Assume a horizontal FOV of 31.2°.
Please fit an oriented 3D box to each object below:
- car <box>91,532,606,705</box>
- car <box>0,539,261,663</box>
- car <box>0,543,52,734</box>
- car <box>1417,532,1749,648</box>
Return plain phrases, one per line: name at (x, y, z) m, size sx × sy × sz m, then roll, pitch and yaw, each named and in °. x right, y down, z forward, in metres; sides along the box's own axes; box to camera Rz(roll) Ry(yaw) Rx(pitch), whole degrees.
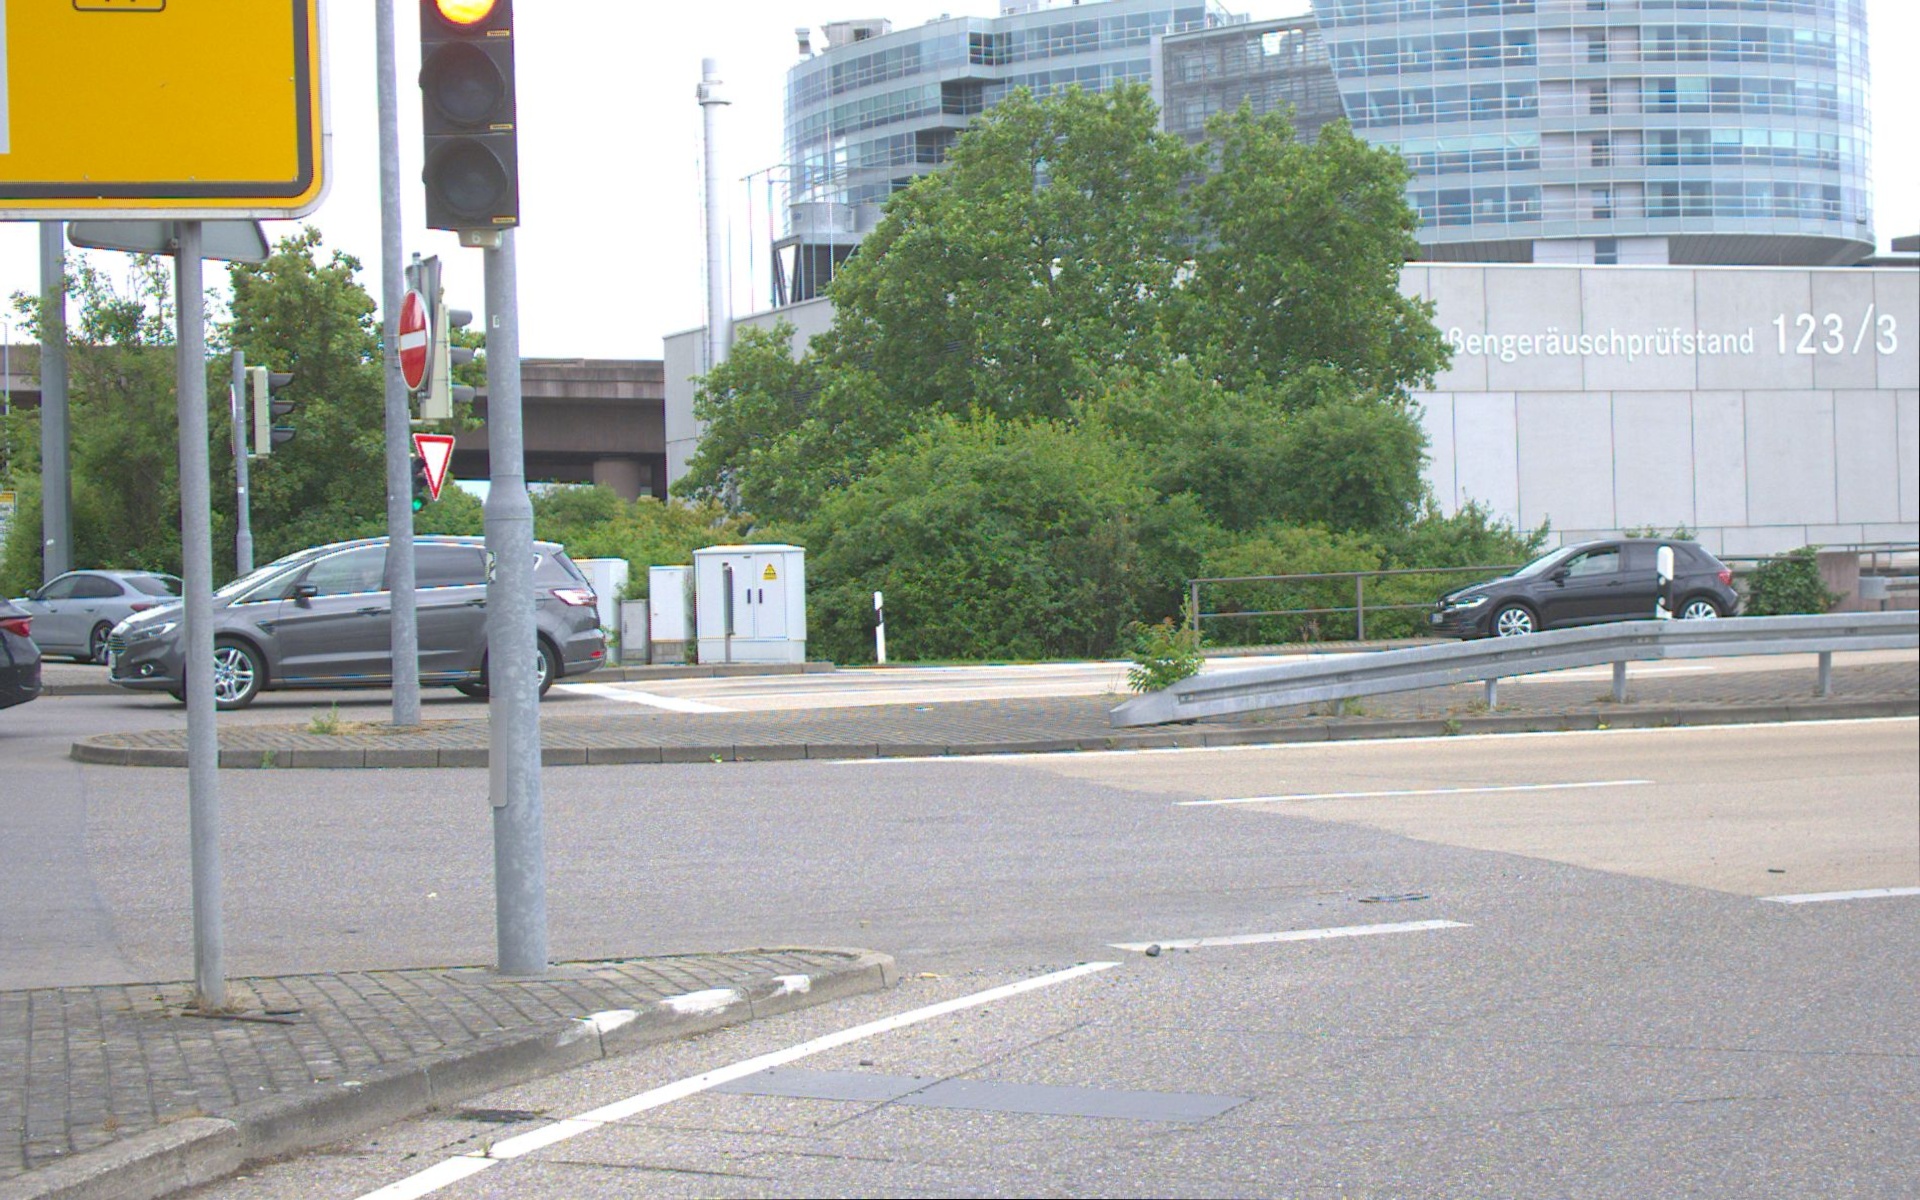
car at (-5.986, 0.137, 33.614) m, size 4.677 × 1.566 × 1.956 m, roll -1°, pitch 2°, yaw -20°
car at (-13.107, -0.010, 52.658) m, size 4.742 × 1.656 × 1.911 m, roll 4°, pitch 1°, yaw 35°
car at (-9.482, 0.314, 26.092) m, size 4.607 × 1.452 × 1.955 m, roll -1°, pitch 2°, yaw -39°
car at (8.378, -0.154, 46.389) m, size 3.980 × 1.416 × 1.916 m, roll -2°, pitch 2°, yaw -8°
